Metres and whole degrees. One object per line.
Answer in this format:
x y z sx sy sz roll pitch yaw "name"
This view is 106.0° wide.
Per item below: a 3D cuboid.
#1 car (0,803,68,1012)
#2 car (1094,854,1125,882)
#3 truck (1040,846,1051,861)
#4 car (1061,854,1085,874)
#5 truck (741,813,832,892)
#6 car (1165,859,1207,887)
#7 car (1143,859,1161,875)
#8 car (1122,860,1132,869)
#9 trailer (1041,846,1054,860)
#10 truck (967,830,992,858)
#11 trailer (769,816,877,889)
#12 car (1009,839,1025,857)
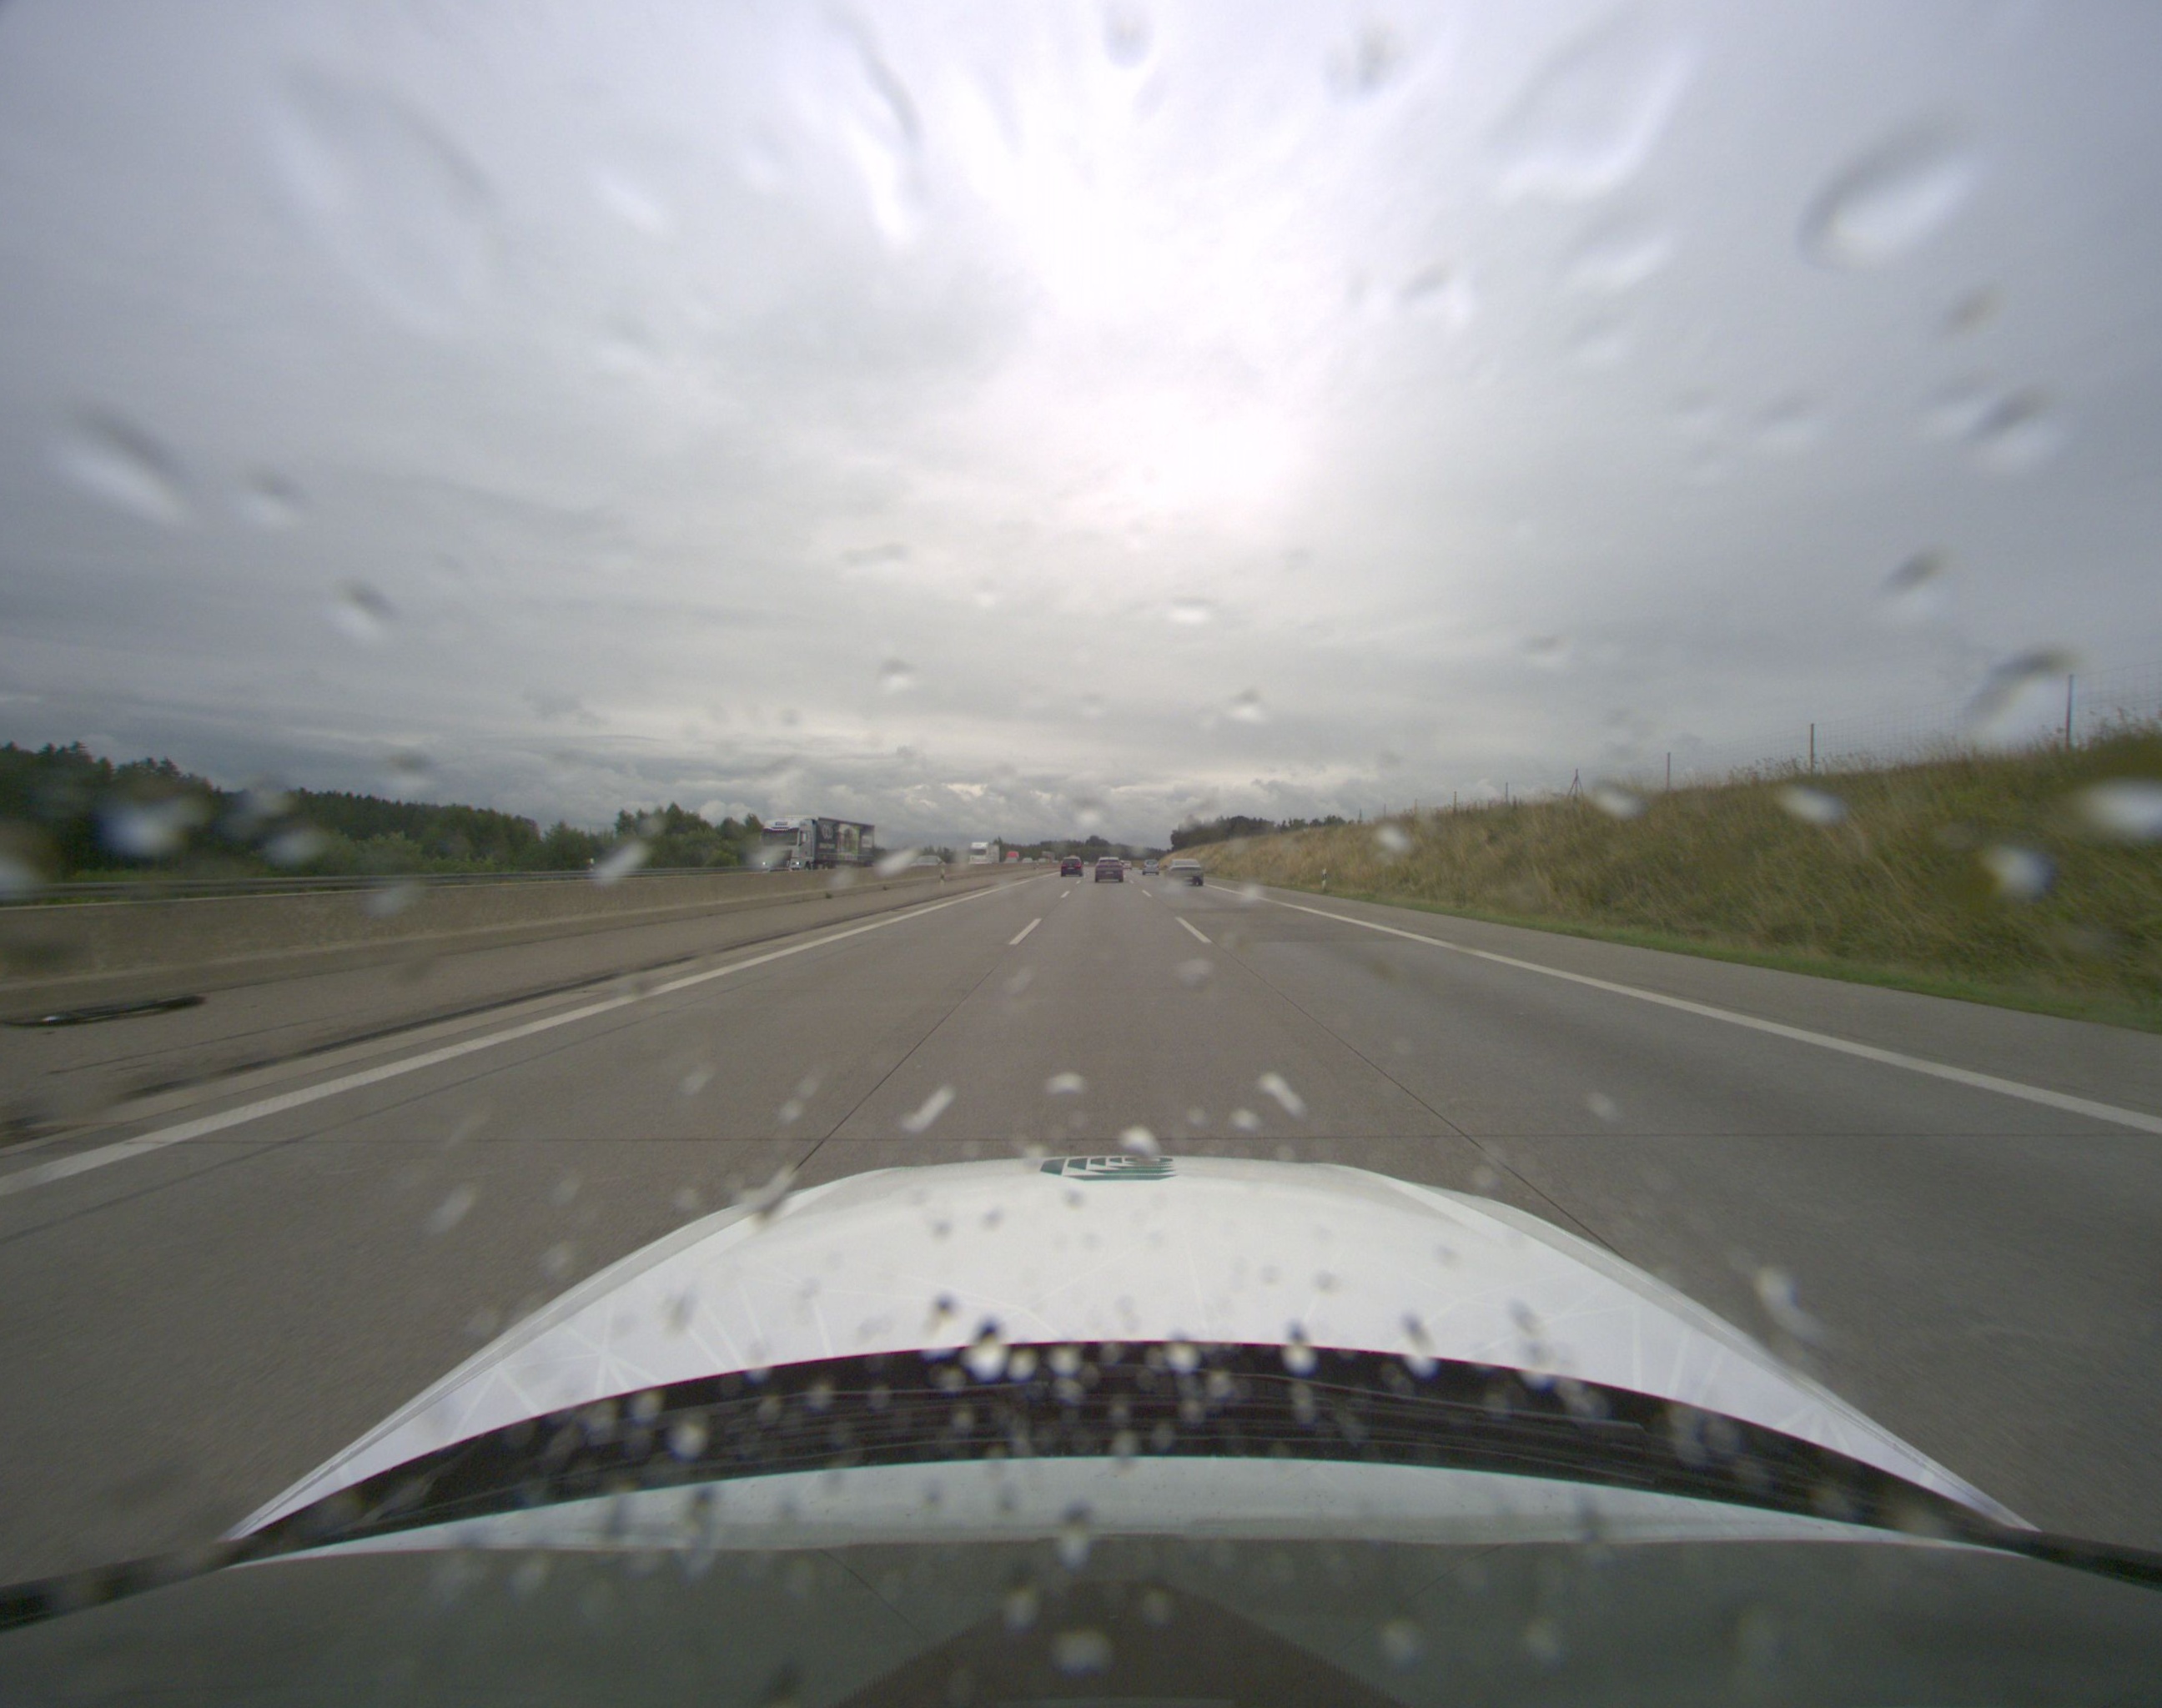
-12.158 0.565 6.490 1.986 2.147 4.865 0 0 2 "car"
1.809 0.880 53.423 1.891 1.690 5.266 0 0 0 "car"
-10.428 -0.222 238.822 2.921 4.180 5.858 0 0 1 "truck"
-0.703 0.873 72.246 1.777 1.747 3.919 0 0 4 "car"
-18.795 -0.113 52.468 3.575 4.819 5.870 0 0 1 "truck"
5.776 1.016 45.306 2.005 1.446 4.750 0 0 4 "car"
6.767 1.219 78.282 1.480 1.470 3.506 2 0 2 "car"
7.443 1.701 132.532 1.480 1.470 3.506 2 0 2 "car"
-10.206 -0.284 246.004 2.907 4.217 11.879 0 0 2 "trailer"
-15.954 -1.586 128.853 2.873 4.291 7.138 0 0 1 "truck"
-18.624 -0.159 60.129 3.585 4.799 12.911 0 0 1 "trailer"
-10.801 -1.040 137.945 1.793 2.958 5.584 0 0 3 "car"
